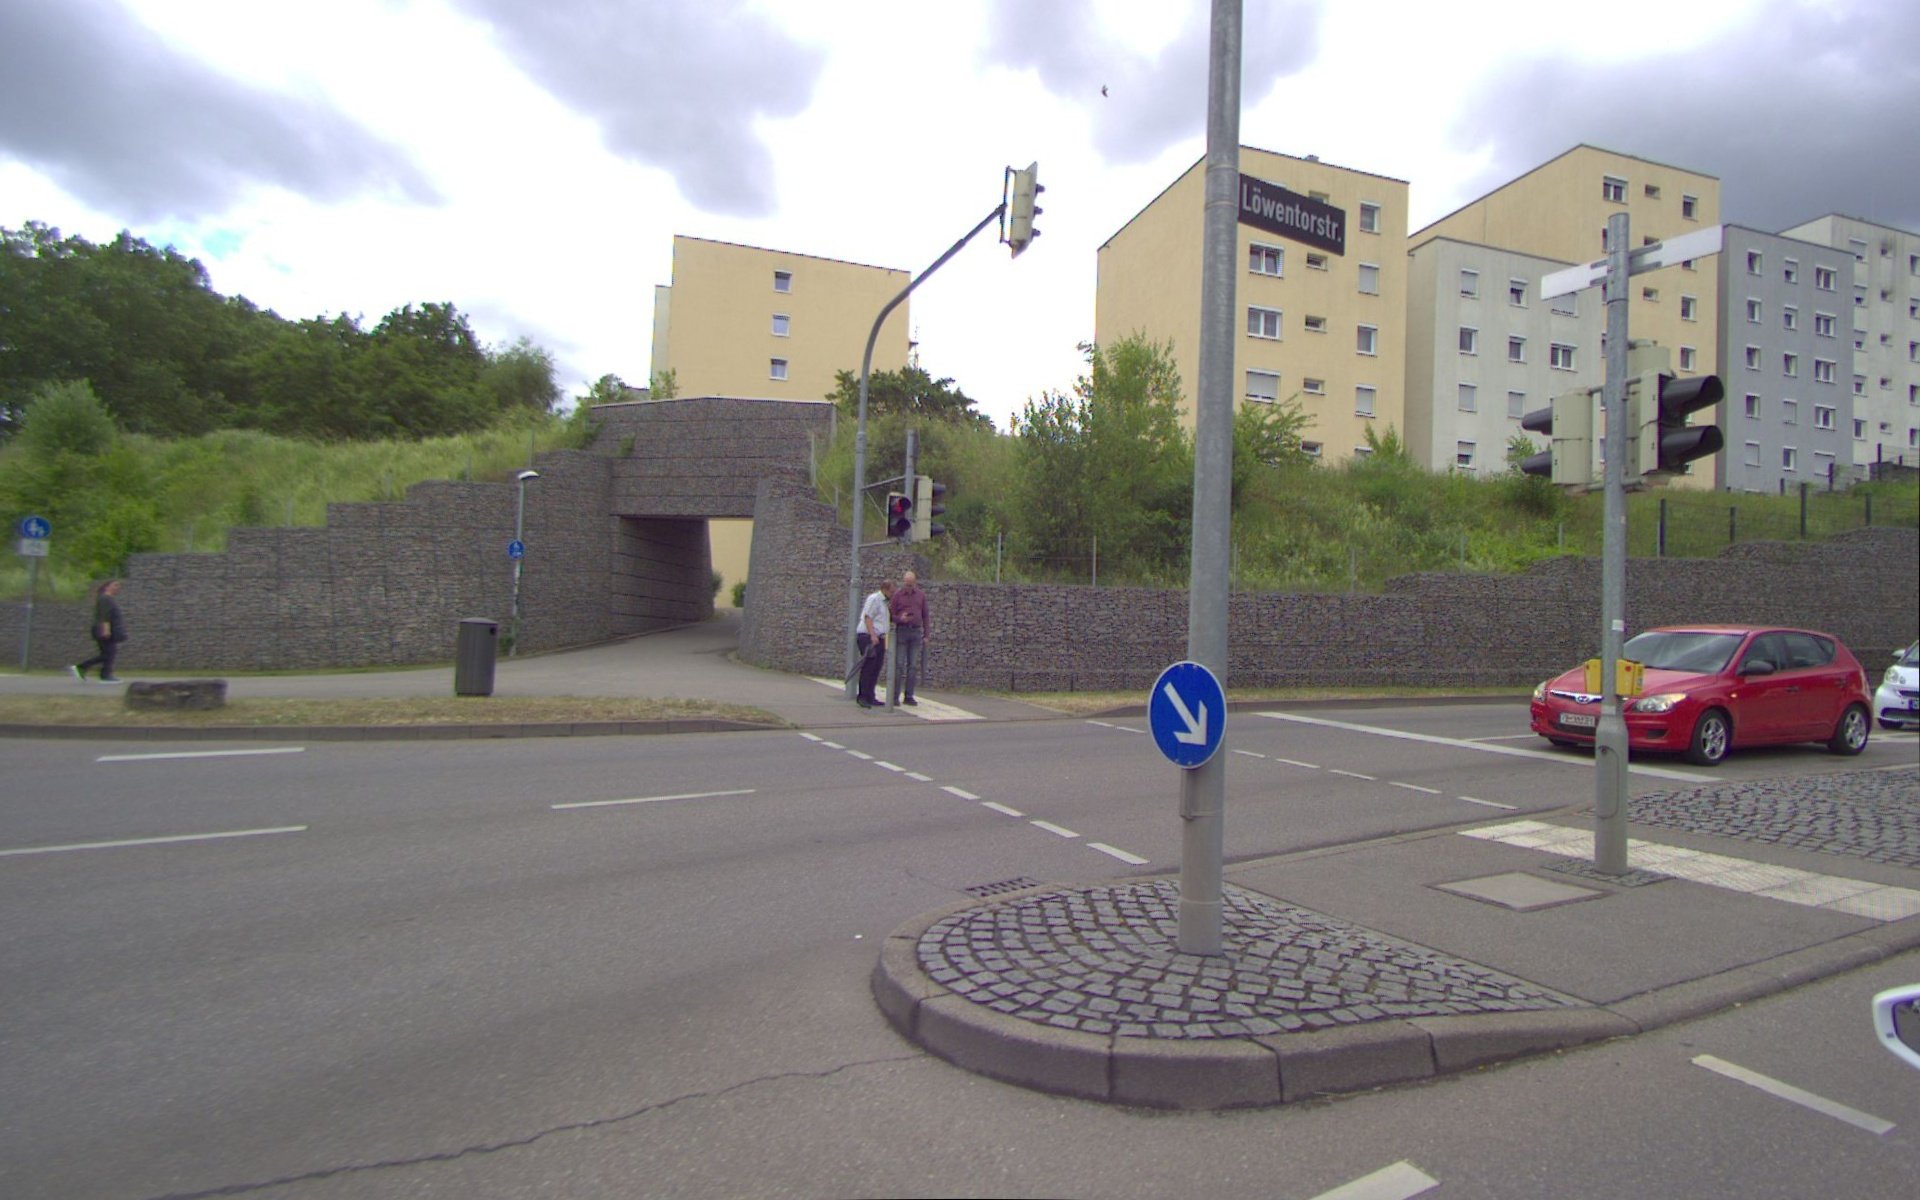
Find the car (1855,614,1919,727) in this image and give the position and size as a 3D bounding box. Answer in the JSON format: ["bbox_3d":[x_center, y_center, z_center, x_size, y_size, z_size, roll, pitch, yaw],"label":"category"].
[{"bbox_3d":[14.550,0.983,14.331,2.871,1.544,1.541,1,0,-21],"label":"car"}]

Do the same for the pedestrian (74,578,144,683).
[{"bbox_3d":[-13.117,0.465,15.485,0.570,1.578,0.623,2,-1,31],"label":"pedestrian"}]

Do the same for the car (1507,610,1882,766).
[{"bbox_3d":[8.565,0.929,11.710,4.035,1.544,1.750,1,0,-24],"label":"car"}]

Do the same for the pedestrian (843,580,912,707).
[{"bbox_3d":[-1.139,0.594,13.905,0.614,1.701,0.663,2,-1,38],"label":"pedestrian"}]

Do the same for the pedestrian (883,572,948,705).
[{"bbox_3d":[-0.638,0.548,14.359,0.658,1.851,0.619,3,-1,-30],"label":"pedestrian"}]
